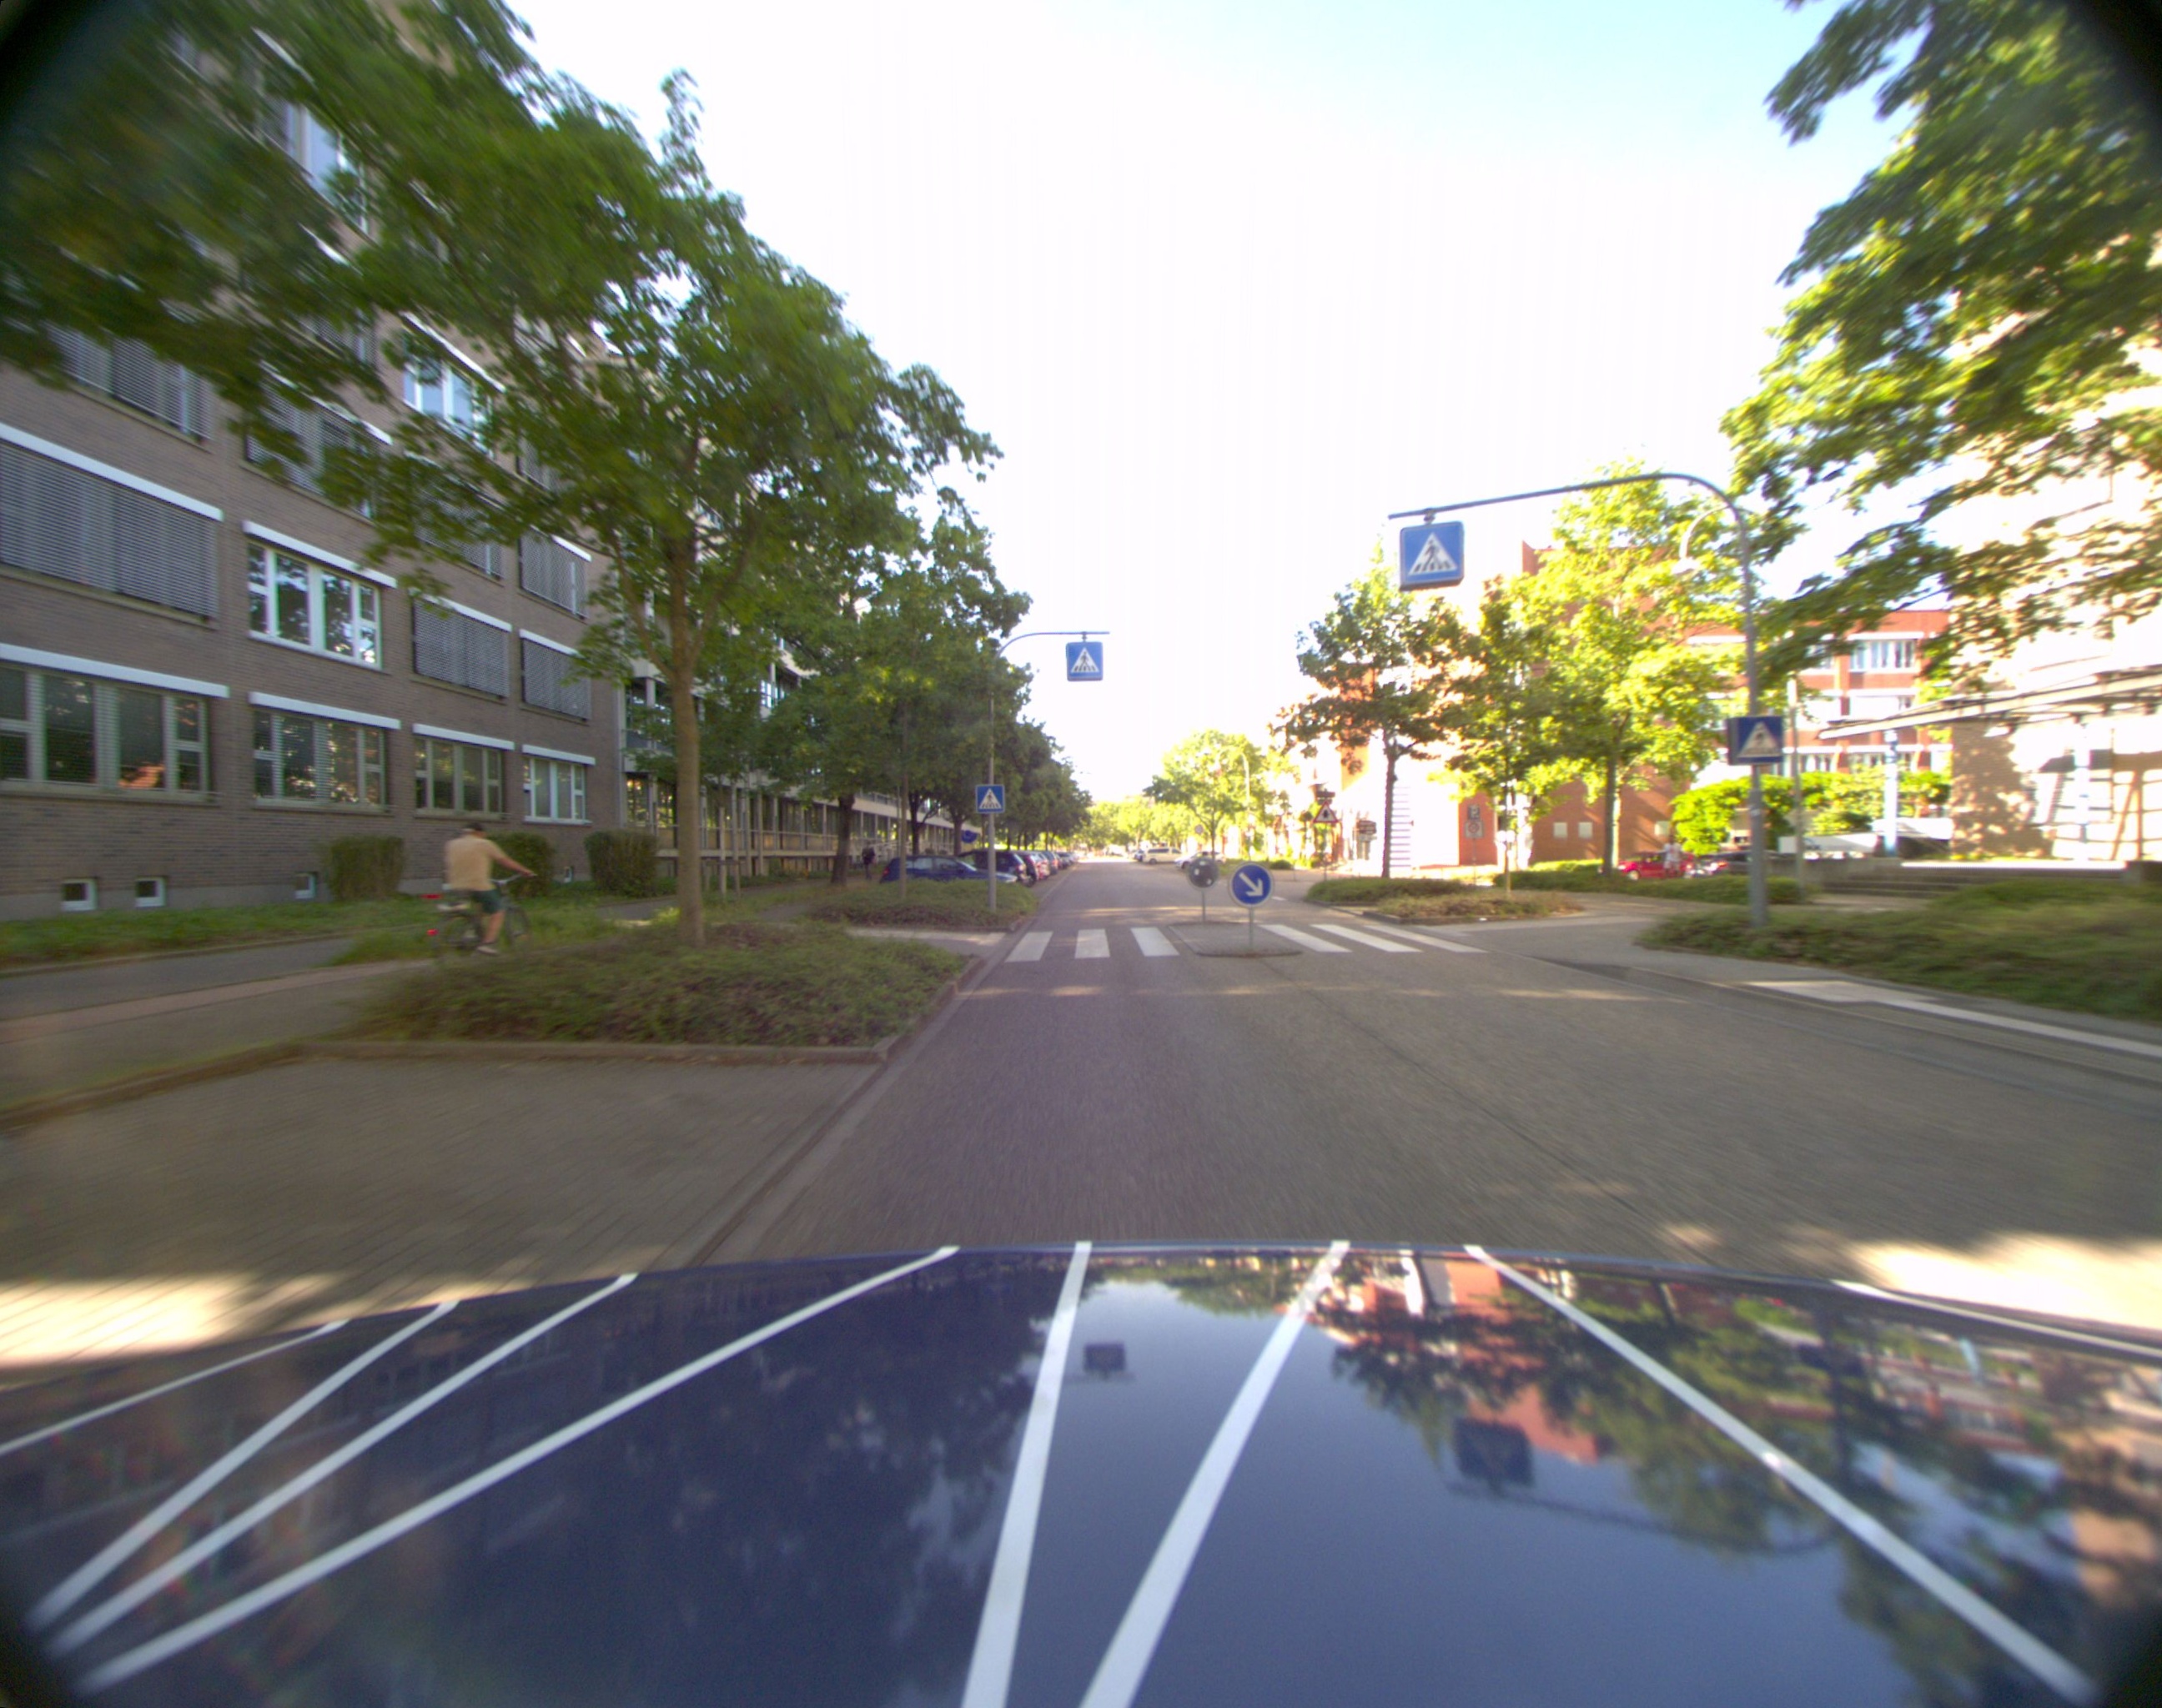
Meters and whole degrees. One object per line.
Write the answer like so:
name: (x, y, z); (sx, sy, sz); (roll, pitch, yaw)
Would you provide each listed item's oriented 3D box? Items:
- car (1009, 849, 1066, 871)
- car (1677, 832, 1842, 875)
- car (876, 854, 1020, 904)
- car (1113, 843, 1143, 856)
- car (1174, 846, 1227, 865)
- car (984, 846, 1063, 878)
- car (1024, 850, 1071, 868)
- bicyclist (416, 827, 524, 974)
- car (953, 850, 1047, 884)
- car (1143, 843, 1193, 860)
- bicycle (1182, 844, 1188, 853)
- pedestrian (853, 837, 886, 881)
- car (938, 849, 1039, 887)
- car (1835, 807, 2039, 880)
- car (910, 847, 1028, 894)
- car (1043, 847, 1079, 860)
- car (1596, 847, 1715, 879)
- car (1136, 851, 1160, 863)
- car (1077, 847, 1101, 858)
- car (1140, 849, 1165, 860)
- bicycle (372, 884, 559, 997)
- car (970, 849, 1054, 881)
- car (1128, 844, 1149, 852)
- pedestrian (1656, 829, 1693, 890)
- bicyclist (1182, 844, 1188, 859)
car: (-3.168, 0.462, 55.736); (3.995, 1.486, 1.714); (1, 1, 4)
car: (25.644, -0.029, 28.827); (4.721, 1.499, 1.847); (-1, 1, -2)
car: (-3.969, 0.747, 23.188); (4.127, 1.363, 1.654); (1, 1, -3)
car: (6.230, -0.629, 100.826); (4.006, 1.637, 1.795); (0, 1, 2)
car: (9.602, 0.093, 61.237); (4.003, 1.411, 1.618); (-2, 1, 0)
car: (-3.112, 0.426, 41.448); (4.136, 1.657, 1.907); (-1, 1, -3)
car: (-2.825, 0.409, 63.953); (3.916, 1.374, 1.586); (1, 2, -3)
bicyclist: (-7.064, 0.509, 8.822); (0.538, 1.627, 0.822); (-1, 1, 2)
car: (-3.644, 0.573, 34.853); (4.135, 1.508, 1.836); (0, 1, -1)
car: (9.517, -0.309, 83.720); (5.317, 1.876, 2.000); (0, 1, 2)
bicycle: (14.164, -0.722, 103.802); (0.637, 1.093, 2.155); (-2, 2, 5)
pedestrian: (-8.974, 0.194, 32.245); (1.037, 1.788, 1.018); (-2, 1, 0)
car: (-3.867, 0.578, 32.263); (4.136, 1.453, 1.659); (1, 1, -3)
car: (32.113, -0.394, 28.618); (5.474, 2.554, 1.923); (-1, 1, 0)
car: (-4.029, 0.576, 27.807); (4.136, 1.581, 1.659); (1, 2, -3)
car: (-2.247, -0.058, 85.938); (3.998, 1.471, 1.803); (0, 1, -2)
car: (28.198, 0.411, 37.406); (4.437, 1.444, 1.848); (-1, 1, 2)
car: (9.768, 0.418, 110.733); (3.451, 1.647, 1.594); (0, 1, 1)
car: (1.148, -0.149, 111.071); (3.554, 1.544, 1.743); (1, -1, -2)
car: (10.229, 0.092, 108.636); (3.451, 1.619, 1.594); (0, 1, 1)
bicycle: (-7.054, 0.943, 8.850); (0.535, 1.072, 1.919); (-1, 1, 2)
car: (-3.445, 0.526, 38.342); (3.996, 1.575, 1.714); (0, 1, 2)
car: (9.734, -1.015, 128.650); (3.451, 1.336, 1.594); (0, 1, 1)
pedestrian: (18.839, 0.163, 24.139); (0.623, 1.907, 0.672); (0, 1, 2)
bicyclist: (14.178, -0.360, 103.754); (0.633, 2.002, 0.609); (-2, 2, 4)
